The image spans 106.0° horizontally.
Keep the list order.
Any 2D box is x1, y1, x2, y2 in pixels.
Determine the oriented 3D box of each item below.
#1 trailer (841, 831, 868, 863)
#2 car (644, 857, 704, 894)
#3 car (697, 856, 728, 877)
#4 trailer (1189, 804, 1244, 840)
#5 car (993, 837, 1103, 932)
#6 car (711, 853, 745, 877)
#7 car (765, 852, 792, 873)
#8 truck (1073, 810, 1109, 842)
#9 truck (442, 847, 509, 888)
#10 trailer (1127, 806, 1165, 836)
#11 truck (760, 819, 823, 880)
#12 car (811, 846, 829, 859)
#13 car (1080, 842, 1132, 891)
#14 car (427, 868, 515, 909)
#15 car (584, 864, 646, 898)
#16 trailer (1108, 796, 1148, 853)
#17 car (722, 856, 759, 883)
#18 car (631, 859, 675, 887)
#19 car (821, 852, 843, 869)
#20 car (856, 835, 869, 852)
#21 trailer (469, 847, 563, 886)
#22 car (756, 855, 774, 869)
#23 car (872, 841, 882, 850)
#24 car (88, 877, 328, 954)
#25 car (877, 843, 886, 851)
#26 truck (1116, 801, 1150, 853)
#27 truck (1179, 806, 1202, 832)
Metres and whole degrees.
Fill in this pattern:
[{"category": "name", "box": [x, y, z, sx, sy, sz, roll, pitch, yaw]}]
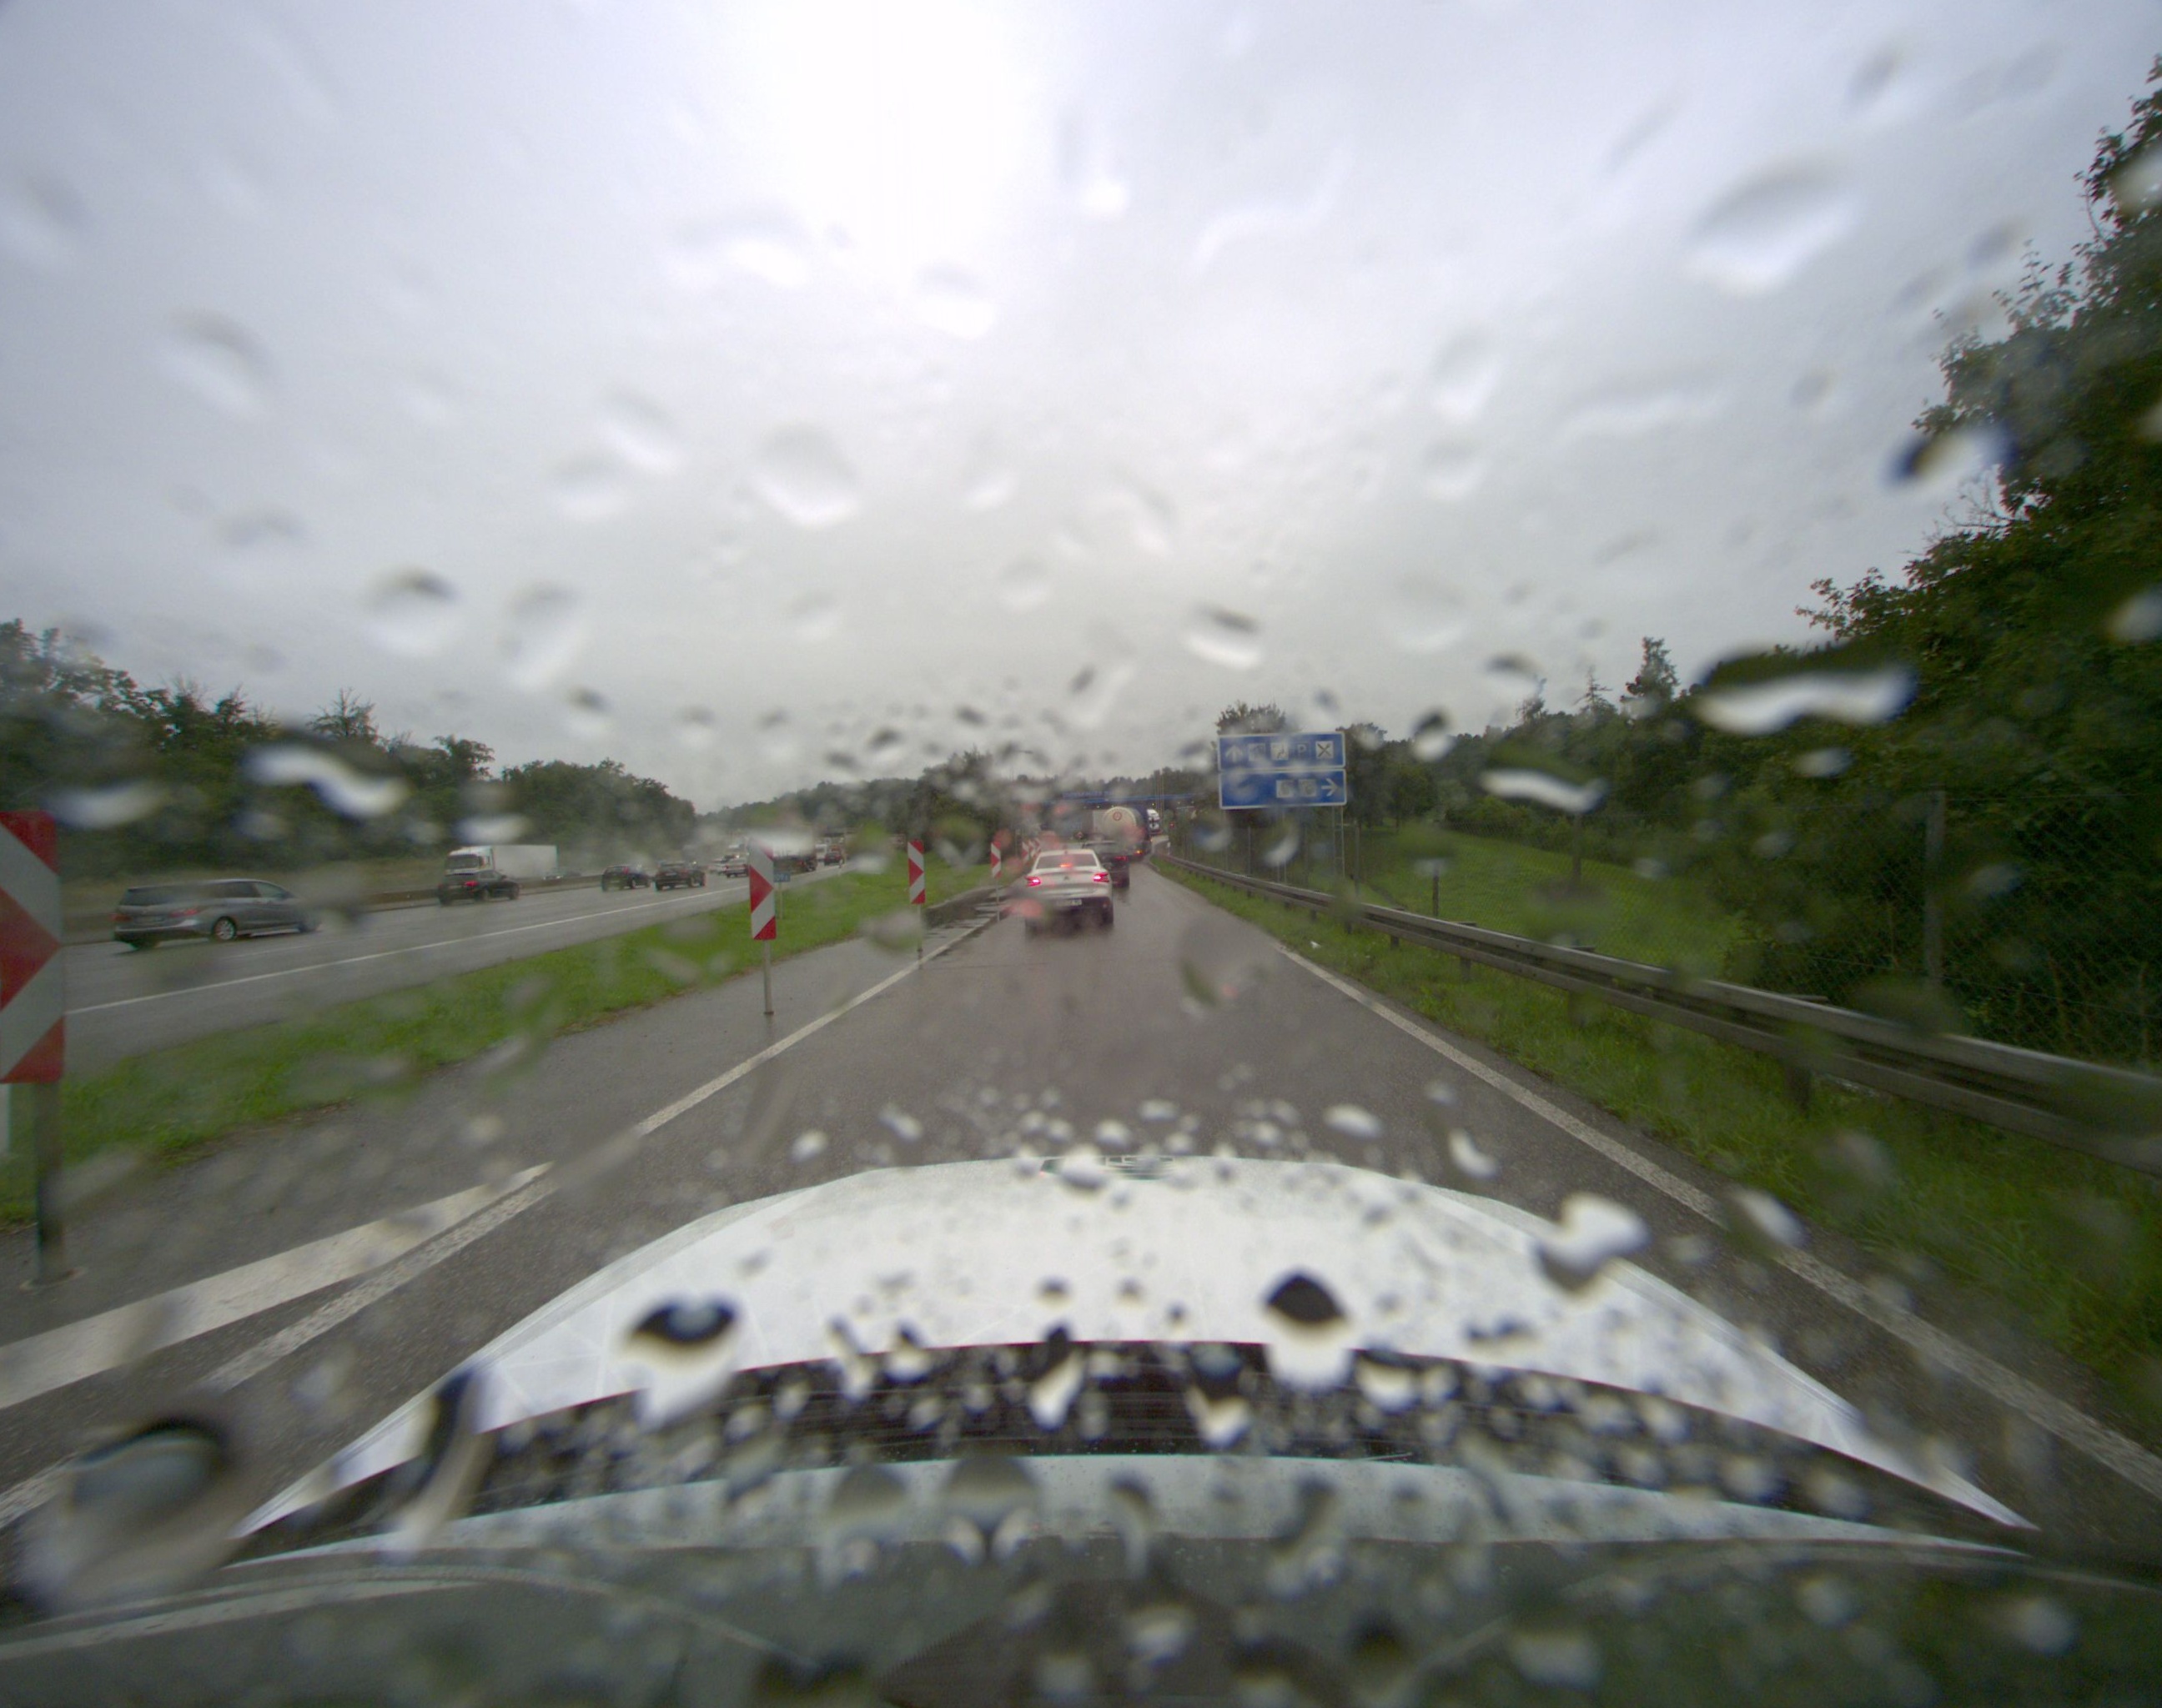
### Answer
[{"category": "trailer", "box": [-35.730, -1.031, 128.377, 3.556, 4.611, 12.053, -4, 1, -16]}, {"category": "car", "box": [-21.505, 1.100, 43.185, 1.776, 1.736, 3.833, -4, 1, -11]}, {"category": "car", "box": [-39.095, 1.258, 86.560, 1.995, 2.013, 3.984, -4, 1, -11]}, {"category": "trailer", "box": [14.456, -3.420, 86.003, 2.111, 3.440, 10.320, -2, 2, 30]}, {"category": "car", "box": [-0.612, 0.545, 17.079, 1.987, 1.679, 3.999, -2, 1, 0]}, {"category": "car", "box": [-32.872, 1.007, 75.887, 1.995, 2.013, 3.984, -3, 1, -11]}, {"category": "car", "box": [-30.708, 0.820, 82.738, 1.997, 2.013, 3.980, -3, 1, -14]}, {"category": "truck", "box": [1.195, -3.646, 107.467, 2.371, 3.873, 12.415, -4, 2, -9]}, {"category": "truck", "box": [-54.384, 1.146, 73.338, 2.649, 3.451, 5.577, -3, 1, -13]}, {"category": "trailer", "box": [9.461, -4.863, 119.697, 3.213, 4.188, 11.502, -2, 2, -7]}, {"category": "truck", "box": [-22.948, -0.299, 65.259, 2.851, 4.292, 11.796, -3, 0, -11]}, {"category": "car", "box": [-39.483, -0.248, 123.354, 1.993, 1.815, 3.988, -1, 1, -9]}, {"category": "car", "box": [0.903, 0.417, 29.592, 1.736, 1.667, 4.001, 0, 0, 1]}, {"category": "car", "box": [-30.098, 1.670, 40.338, 1.776, 1.736, 4.085, -4, 1, -11]}, {"category": "car", "box": [-27.375, 1.566, 47.955, 1.776, 1.736, 4.086, -3, 1, -10]}, {"category": "trailer", "box": [3.163, -1.928, 52.724, 1.970, 3.224, 10.341, -2, 2, 6]}, {"category": "car", "box": [-26.316, 1.148, 63.055, 1.790, 1.971, 4.317, -2, 1, -12]}, {"category": "car", "box": [-34.996, 1.521, 66.684, 1.995, 2.013, 3.985, -4, 1, -11]}, {"category": "car", "box": [-27.854, 0.728, 91.289, 1.995, 1.816, 3.984, -1, 0, -11]}, {"category": "car", "box": [-43.755, -2.084, 162.780, 2.377, 3.485, 4.789, 0, 0, -16]}, {"category": "trailer", "box": [-56.107, 1.134, 81.426, 2.651, 3.497, 13.428, -3, 1, -12]}, {"category": "car", "box": [-42.627, 1.103, 109.985, 1.699, 1.787, 3.769, -2, 0, -13]}, {"category": "car", "box": [-47.646, -1.892, 190.349, 1.999, 2.013, 3.976, 0, 0, -18]}, {"category": "car", "box": [-22.171, 1.476, 20.994, 1.787, 1.526, 4.323, -4, 1, -8]}, {"category": "car", "box": [-51.207, -1.708, 208.886, 1.999, 2.013, 3.976, 0, 0, -18]}, {"category": "truck", "box": [3.814, -1.980, 58.669, 2.042, 3.530, 4.756, -2, 2, 6]}, {"category": "truck", "box": [16.750, -5.350, 124.699, 2.421, 3.804, 3.994, -4, 3, -5]}]
